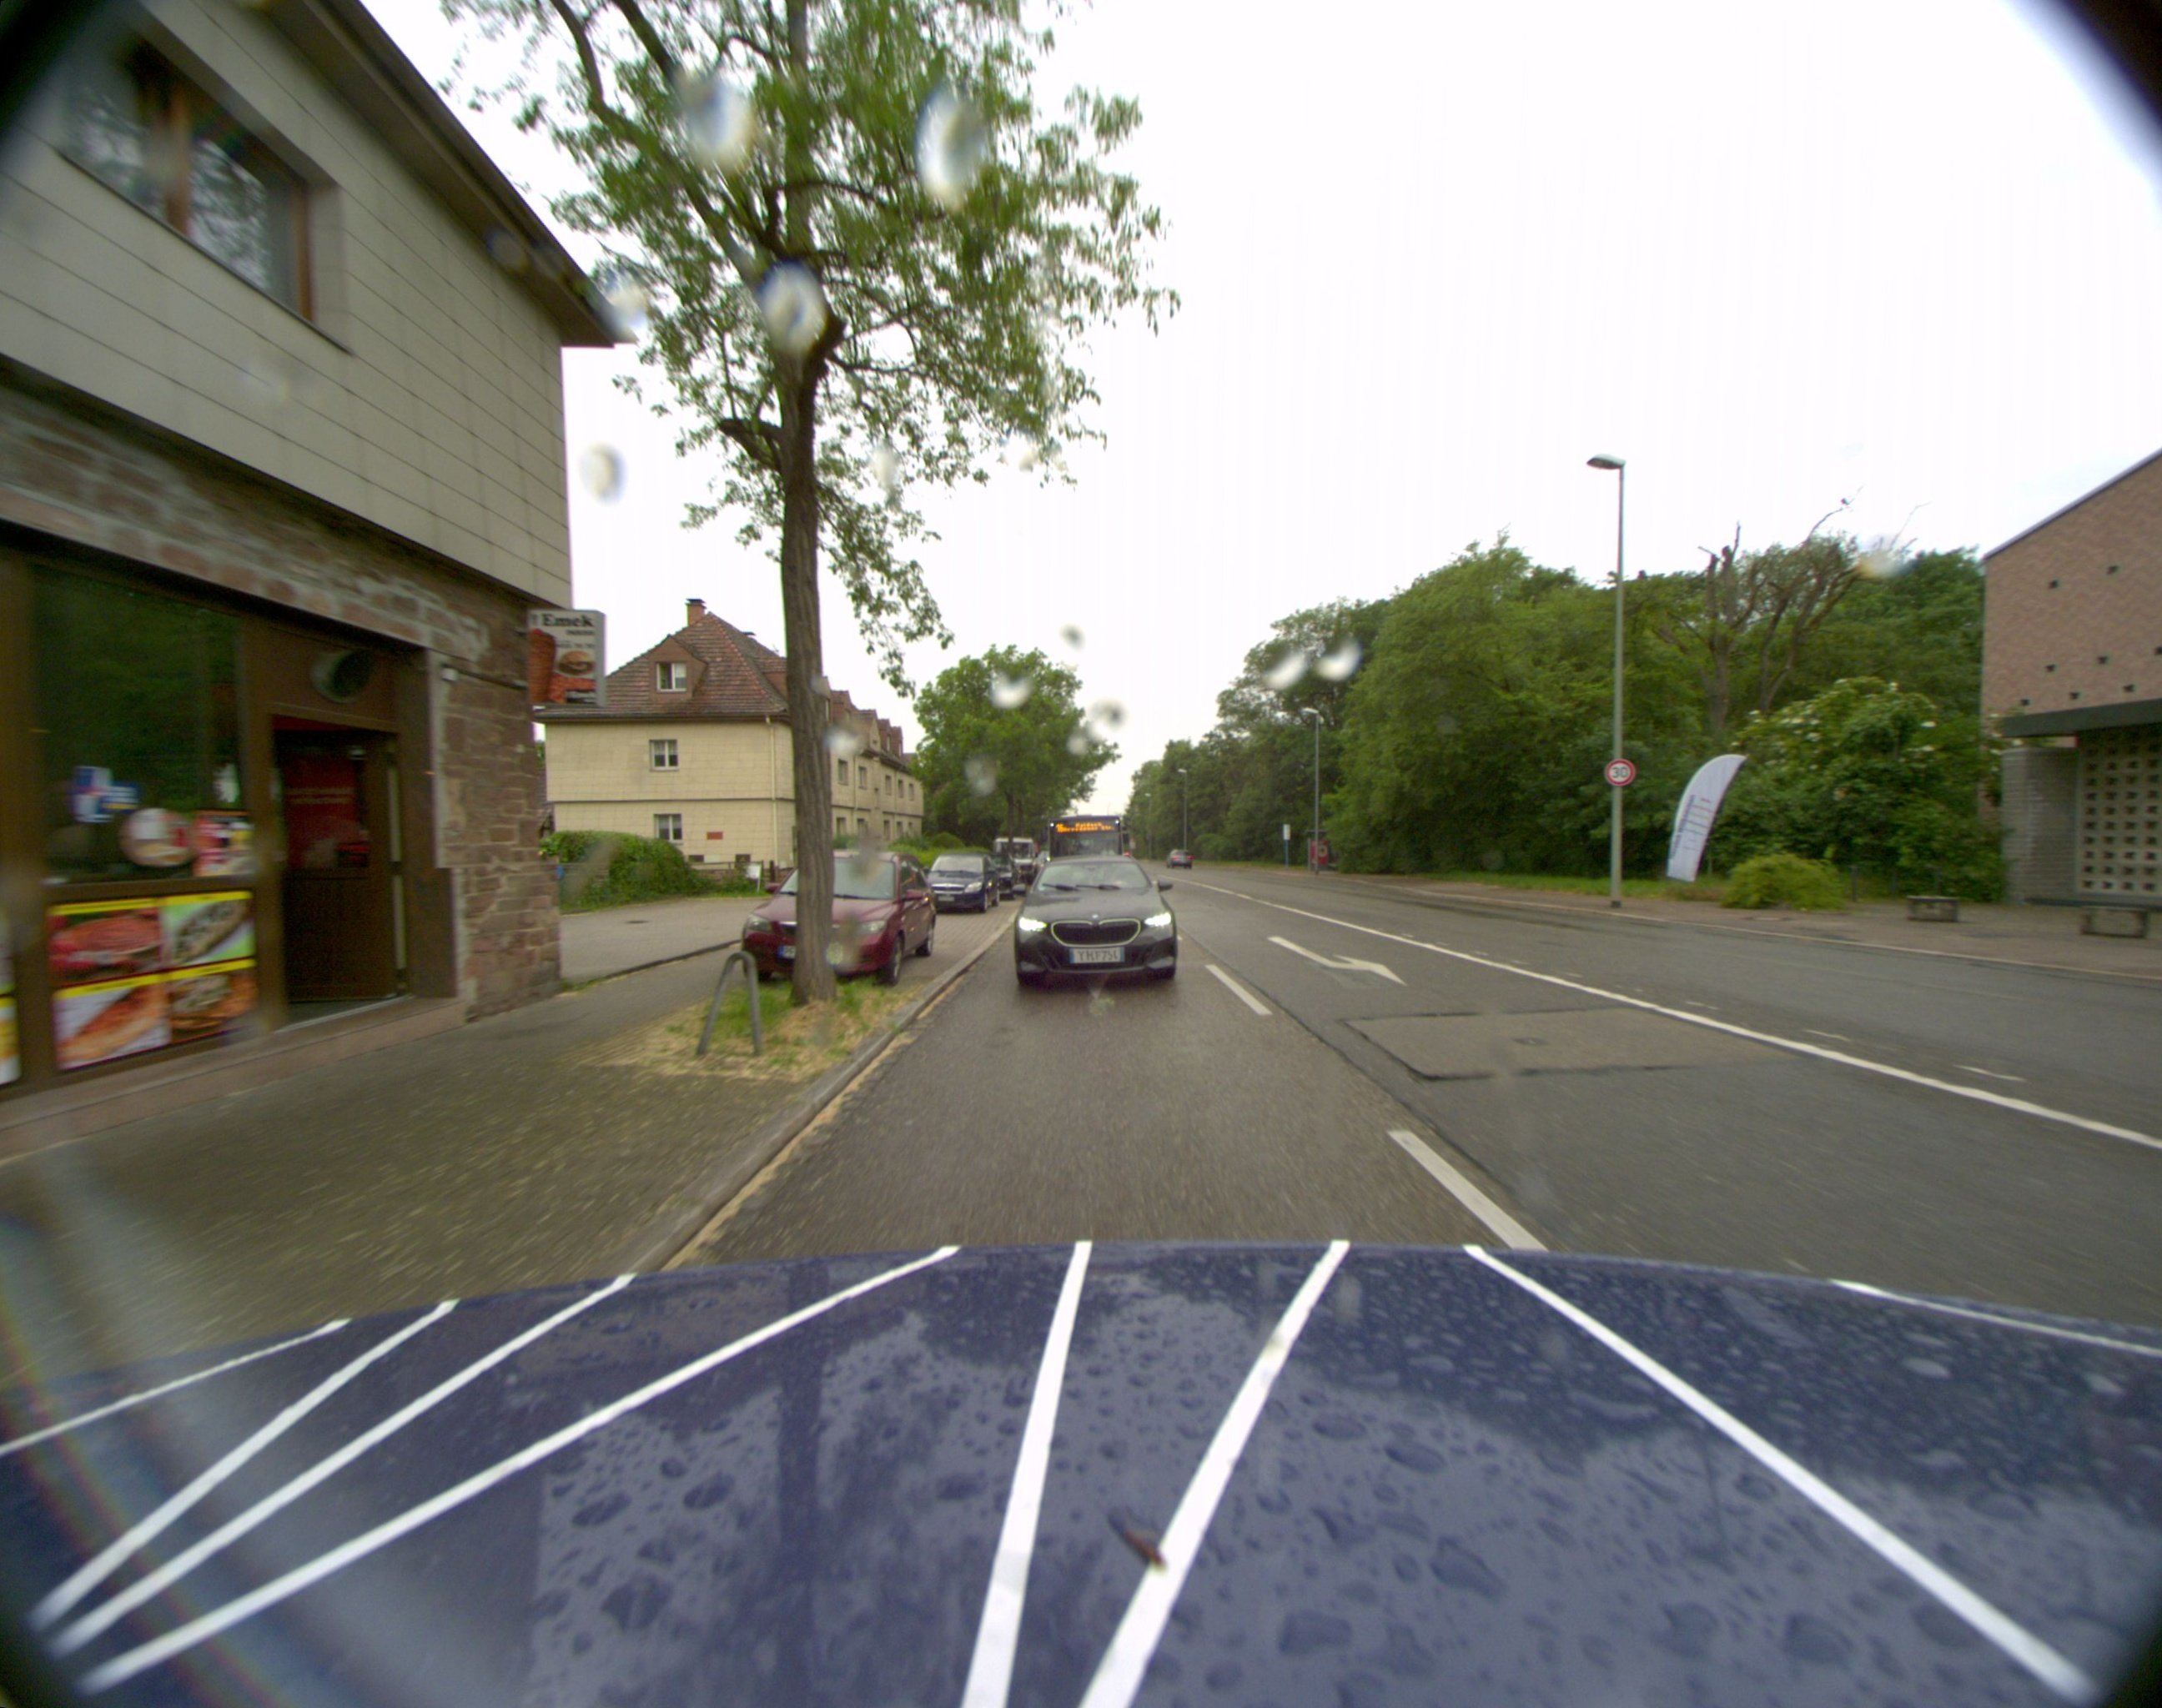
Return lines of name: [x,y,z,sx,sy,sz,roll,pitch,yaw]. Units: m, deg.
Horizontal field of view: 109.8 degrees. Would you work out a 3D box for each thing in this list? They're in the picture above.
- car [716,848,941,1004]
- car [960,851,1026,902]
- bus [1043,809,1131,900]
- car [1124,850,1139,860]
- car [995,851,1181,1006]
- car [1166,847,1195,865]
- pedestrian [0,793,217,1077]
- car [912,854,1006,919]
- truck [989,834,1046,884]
car: [-2.882,0.722,9.523,1.614,1.495,3.756,-3,0,-2]
car: [-2.810,0.659,24.894,1.720,1.456,3.999,1,1,-1]
bus: [0.336,-0.060,29.499,2.767,2.858,9.402,-3,1,2]
car: [8.291,0.117,124.733,1.915,1.445,4.947,3,1,-1]
car: [0.107,0.782,10.191,1.882,1.520,4.316,-3,0,1]
car: [8.853,0.184,67.797,1.913,1.581,4.316,0,1,-2]
pedestrian: [-6.265,0.504,4.899,0.801,1.720,0.485,-2,2,11]
car: [-3.022,0.749,19.592,1.720,1.416,3.999,1,1,1]
truck: [-2.898,0.199,35.970,1.998,2.184,5.756,0,0,2]
